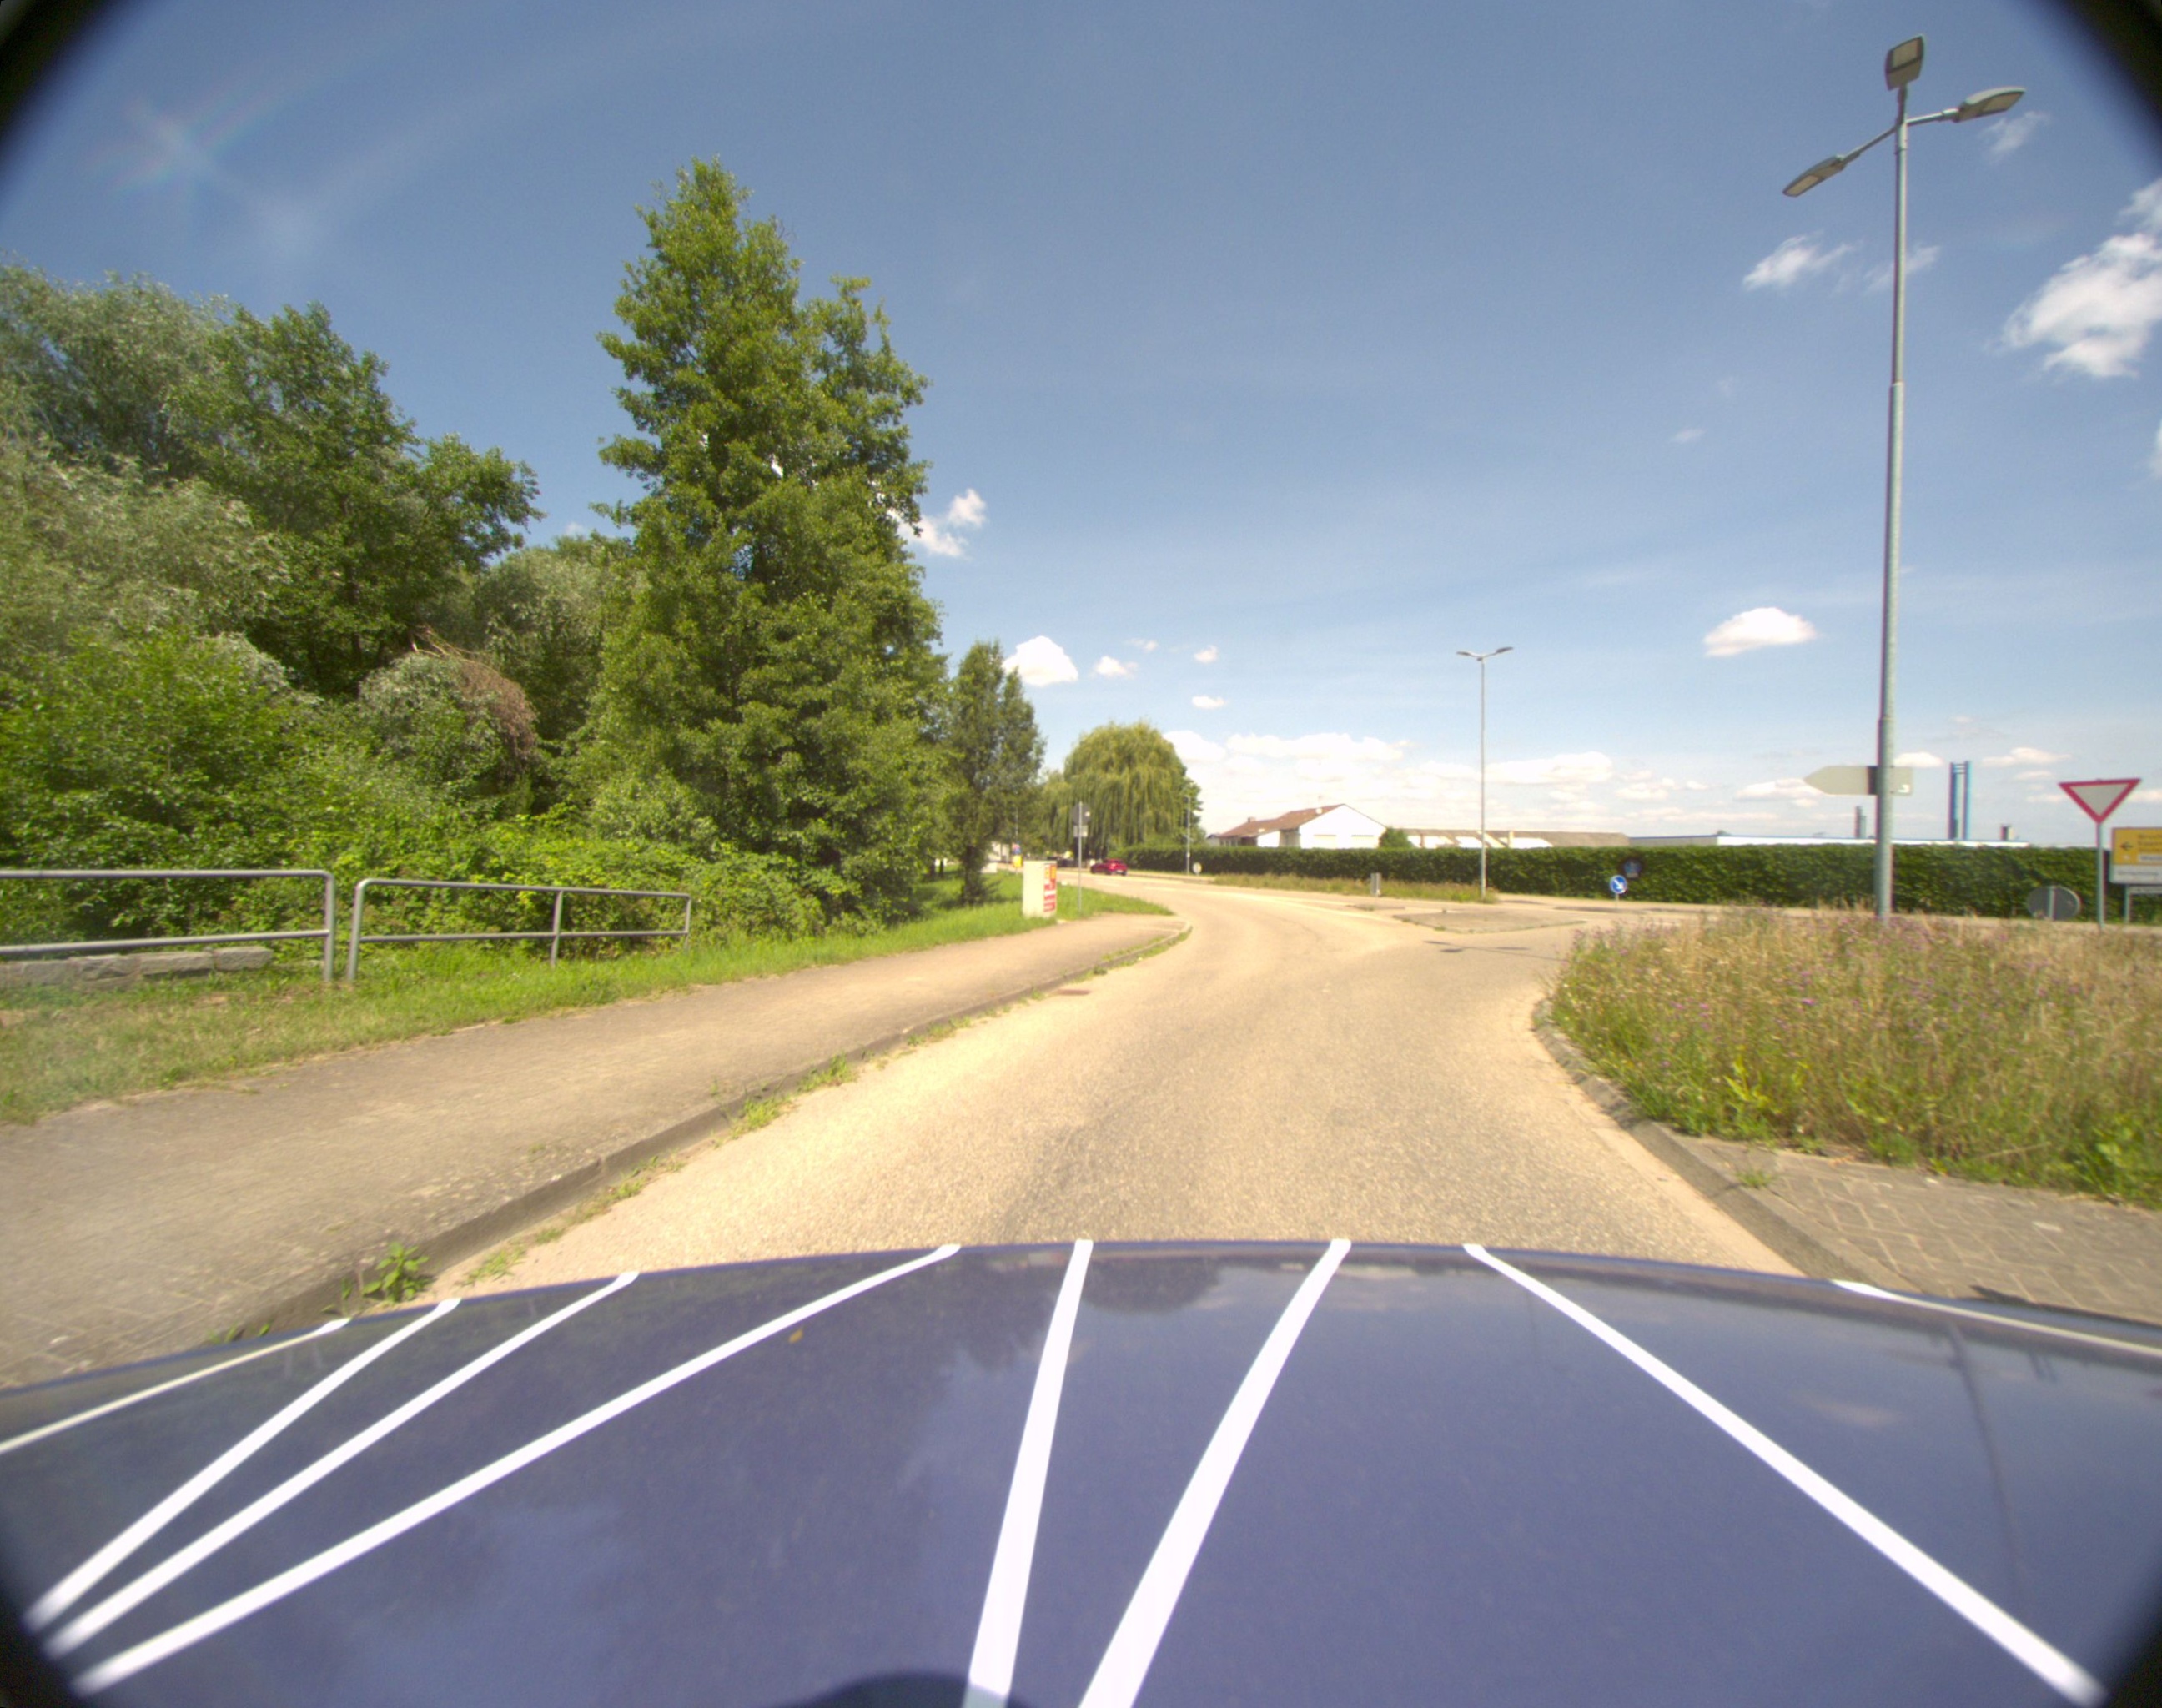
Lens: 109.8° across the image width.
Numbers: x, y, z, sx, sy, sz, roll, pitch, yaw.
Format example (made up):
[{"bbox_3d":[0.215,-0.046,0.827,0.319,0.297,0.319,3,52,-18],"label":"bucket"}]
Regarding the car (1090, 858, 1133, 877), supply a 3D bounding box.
[{"bbox_3d":[2.573,1.143,65.027,1.889,1.455,4.378,2,0,-24],"label":"car"}]
